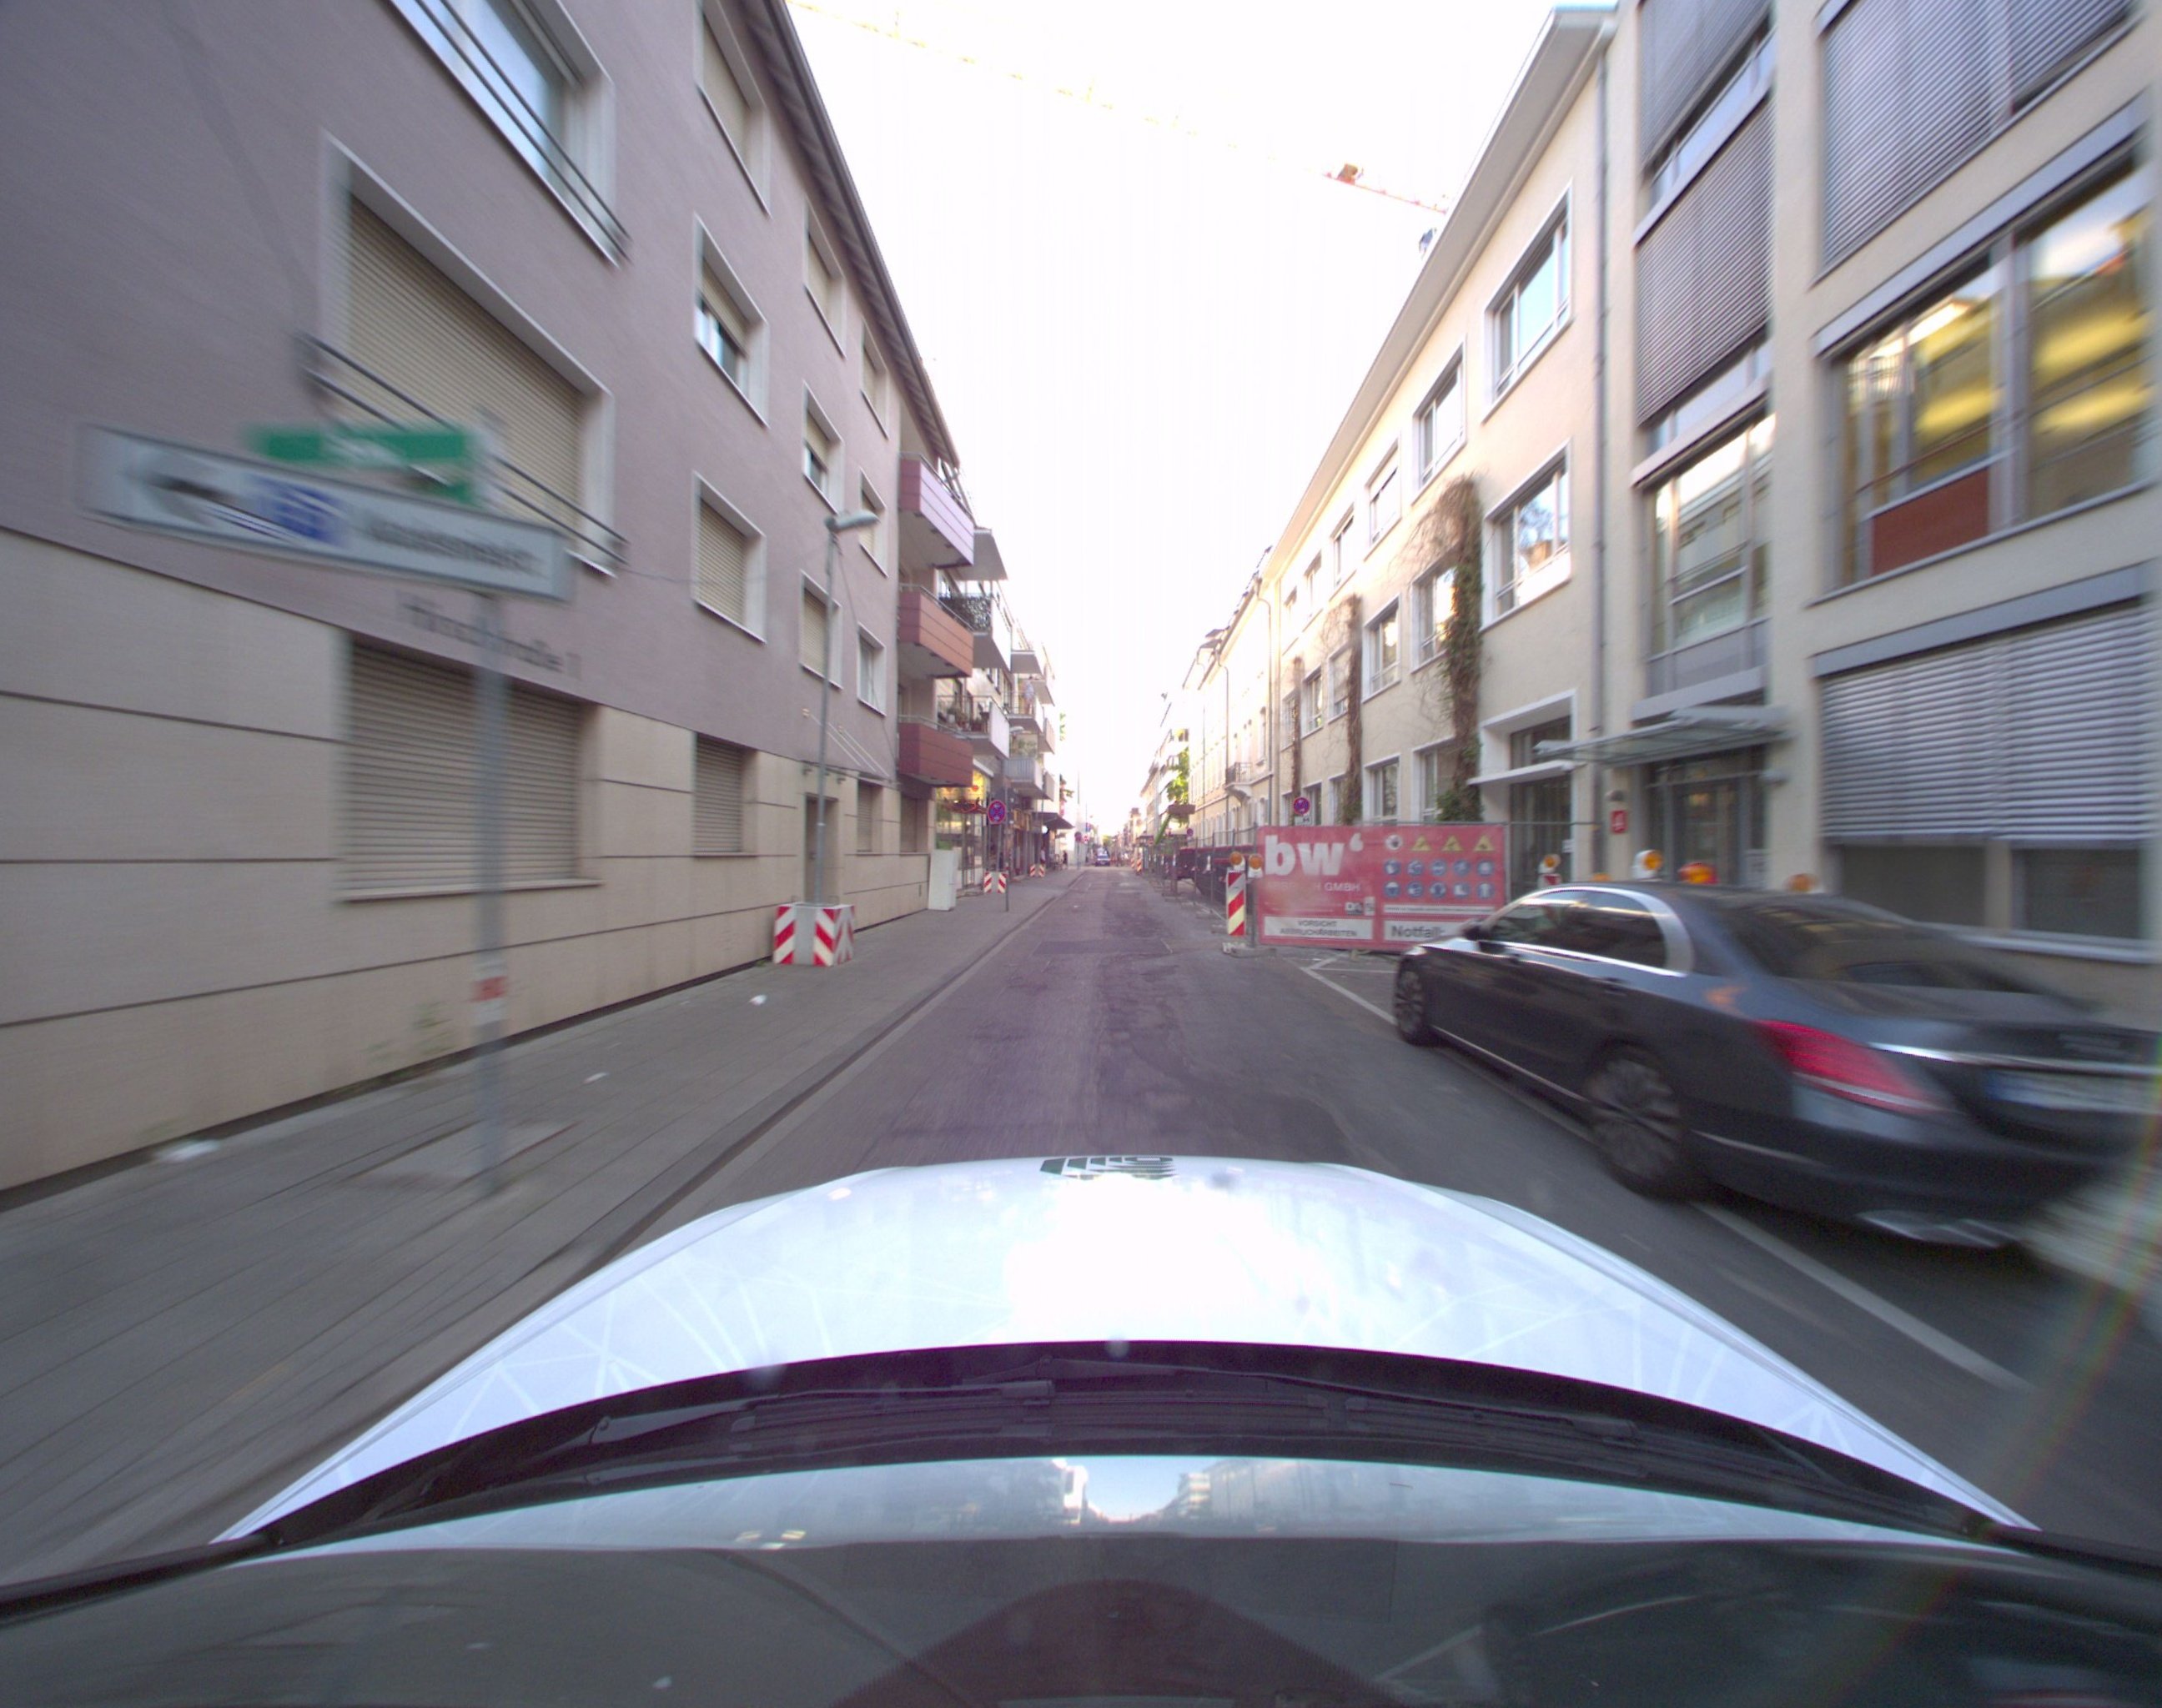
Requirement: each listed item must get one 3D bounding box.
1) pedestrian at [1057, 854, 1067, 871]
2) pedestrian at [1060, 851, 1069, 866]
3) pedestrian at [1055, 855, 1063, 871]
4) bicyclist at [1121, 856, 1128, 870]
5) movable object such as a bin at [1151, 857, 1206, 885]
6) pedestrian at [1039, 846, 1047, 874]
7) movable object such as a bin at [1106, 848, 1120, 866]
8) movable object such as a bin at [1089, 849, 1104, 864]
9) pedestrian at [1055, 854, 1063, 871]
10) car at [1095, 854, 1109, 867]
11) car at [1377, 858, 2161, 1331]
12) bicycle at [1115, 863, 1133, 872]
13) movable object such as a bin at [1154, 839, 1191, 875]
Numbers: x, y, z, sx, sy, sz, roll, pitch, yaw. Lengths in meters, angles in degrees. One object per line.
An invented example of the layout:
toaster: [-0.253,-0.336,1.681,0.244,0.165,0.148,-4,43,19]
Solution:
pedestrian: [-1.557,0.691,66.345,0.699,1.275,0.714,2,0,2]
pedestrian: [-1.423,0.385,70.780,0.708,1.275,0.705,1,0,2]
pedestrian: [-1.756,0.710,65.429,0.571,1.275,0.714,2,0,2]
bicyclist: [4.663,0.940,86.552,0.722,1.441,0.506,0,0,-1]
movable object such as a bin: [6.104,1.030,52.070,2.726,1.638,7.553,1,0,1]
pedestrian: [-2.536,0.386,53.852,0.529,1.834,0.562,0,0,-4]
movable object such as a bin: [4.884,0.482,125.747,2.148,2.664,4.574,0,0,2]
movable object such as a bin: [2.201,0.323,115.539,1.986,2.013,4.002,-1,0,2]
pedestrian: [-1.754,0.663,64.574,0.571,1.275,0.714,2,0,2]
car: [2.605,0.763,100.410,1.625,1.550,3.140,0,0,-1]
car: [3.431,0.810,4.881,1.780,1.471,4.448,2,0,2]
bicycle: [4.557,1.441,86.583,1.885,1.038,0.409,0,0,-1]
movable object such as a bin: [7.432,0.219,66.587,2.595,2.839,4.452,-1,0,2]
